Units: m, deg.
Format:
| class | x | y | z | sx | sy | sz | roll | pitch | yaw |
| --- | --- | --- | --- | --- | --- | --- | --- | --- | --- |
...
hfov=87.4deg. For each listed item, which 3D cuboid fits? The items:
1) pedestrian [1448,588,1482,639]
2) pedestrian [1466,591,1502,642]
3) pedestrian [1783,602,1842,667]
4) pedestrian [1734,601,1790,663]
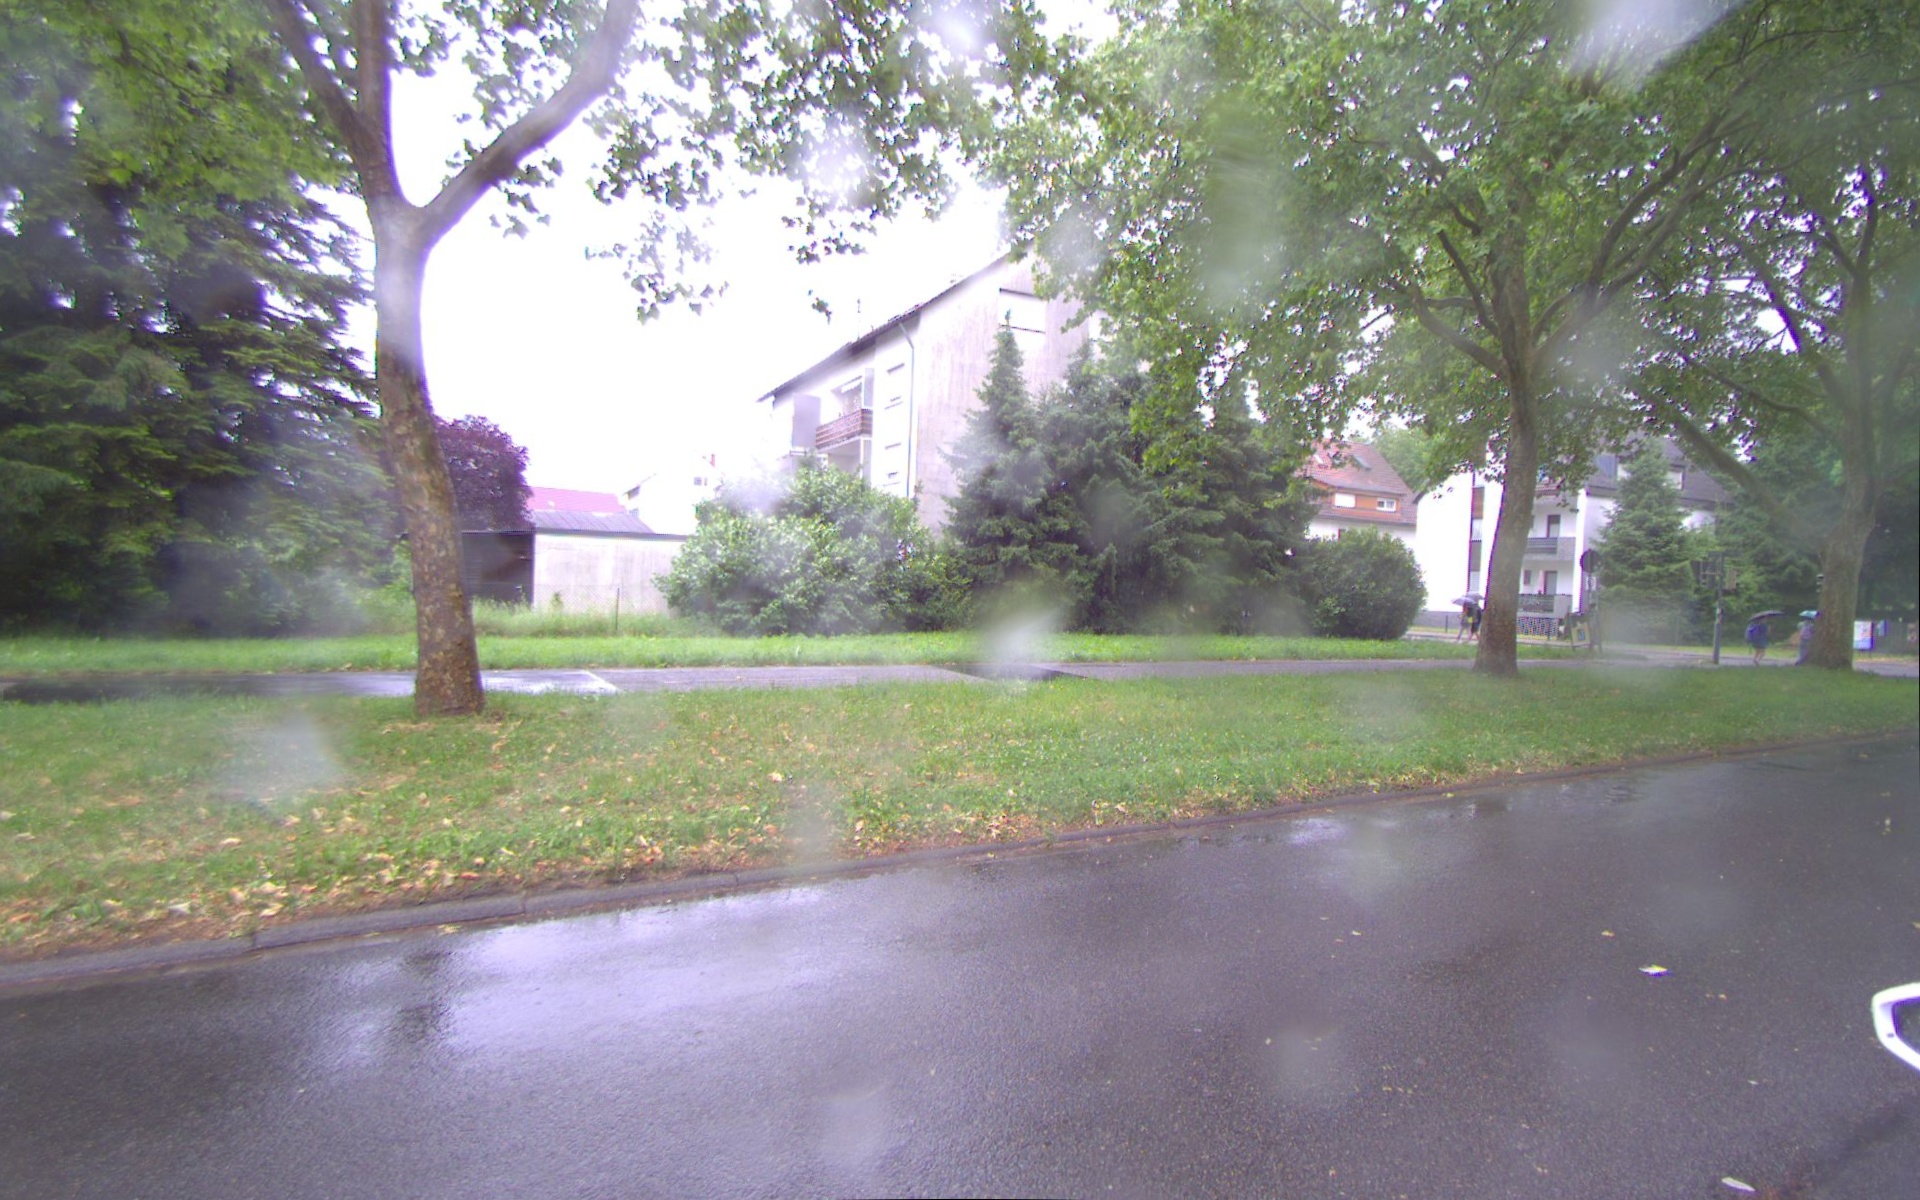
| class | x | y | z | sx | sy | sz | roll | pitch | yaw |
| --- | --- | --- | --- | --- | --- | --- | --- | --- | --- |
| pedestrian | 17.759 | 0.466 | 35.350 | 0.633 | 1.768 | 0.815 | 1 | 1 | -33 |
| pedestrian | 18.614 | 0.573 | 35.683 | 0.633 | 1.768 | 0.854 | 1 | 1 | -33 |
| pedestrian | 24.285 | 0.968 | 28.616 | 0.828 | 1.789 | 1.028 | 1 | 1 | -30 |
| pedestrian | 23.766 | 0.931 | 29.775 | 0.869 | 1.789 | 1.028 | 1 | 1 | -30 |
